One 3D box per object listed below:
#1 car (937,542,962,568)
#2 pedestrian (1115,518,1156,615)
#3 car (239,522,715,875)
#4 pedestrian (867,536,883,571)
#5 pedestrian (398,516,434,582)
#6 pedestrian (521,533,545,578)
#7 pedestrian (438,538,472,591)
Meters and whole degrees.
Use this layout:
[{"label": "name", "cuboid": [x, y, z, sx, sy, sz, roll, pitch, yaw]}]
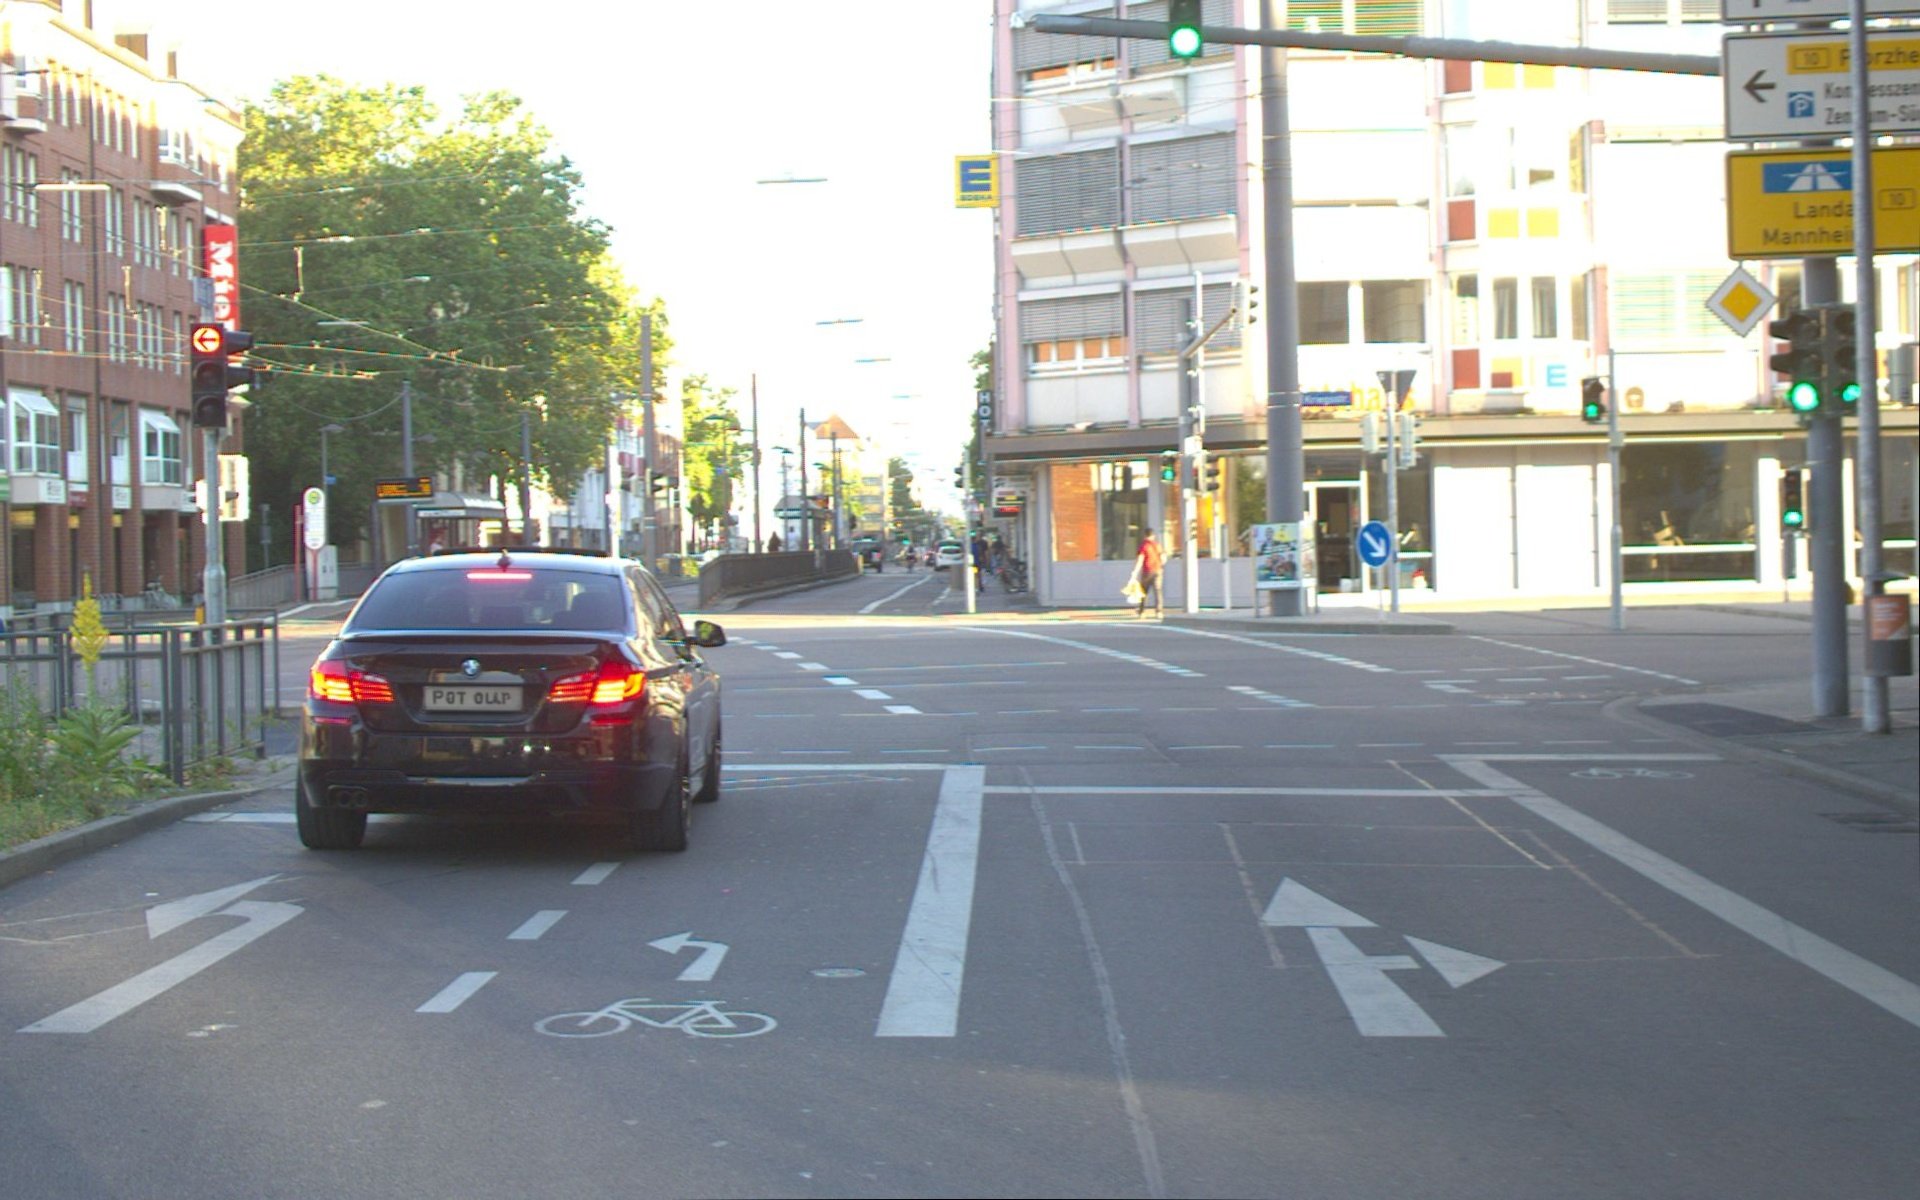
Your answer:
[{"label": "car", "cuboid": [-0.631, -2.691, 206.618, 1.473, 1.509, 3.096, -1, 1, -1]}, {"label": "pedestrian", "cuboid": [3.389, -0.641, 66.363, 0.684, 1.848, 0.671, -1, 1, -3]}, {"label": "car", "cuboid": [-2.353, 0.409, 17.756, 1.993, 1.579, 4.001, 1, 1, -2]}, {"label": "pedestrian", "cuboid": [-4.889, -2.687, 197.867, 0.914, 2.007, 0.887, -1, 1, -1]}, {"label": "pedestrian", "cuboid": [-16.737, -1.575, 105.710, 0.988, 2.007, 0.726, 1, 1, -1]}, {"label": "pedestrian", "cuboid": [-16.280, -1.704, 131.044, 0.723, 1.675, 0.991, -1, 1, 2]}, {"label": "pedestrian", "cuboid": [-16.325, -1.146, 111.145, 0.988, 1.675, 0.726, -1, 1, -1]}]
